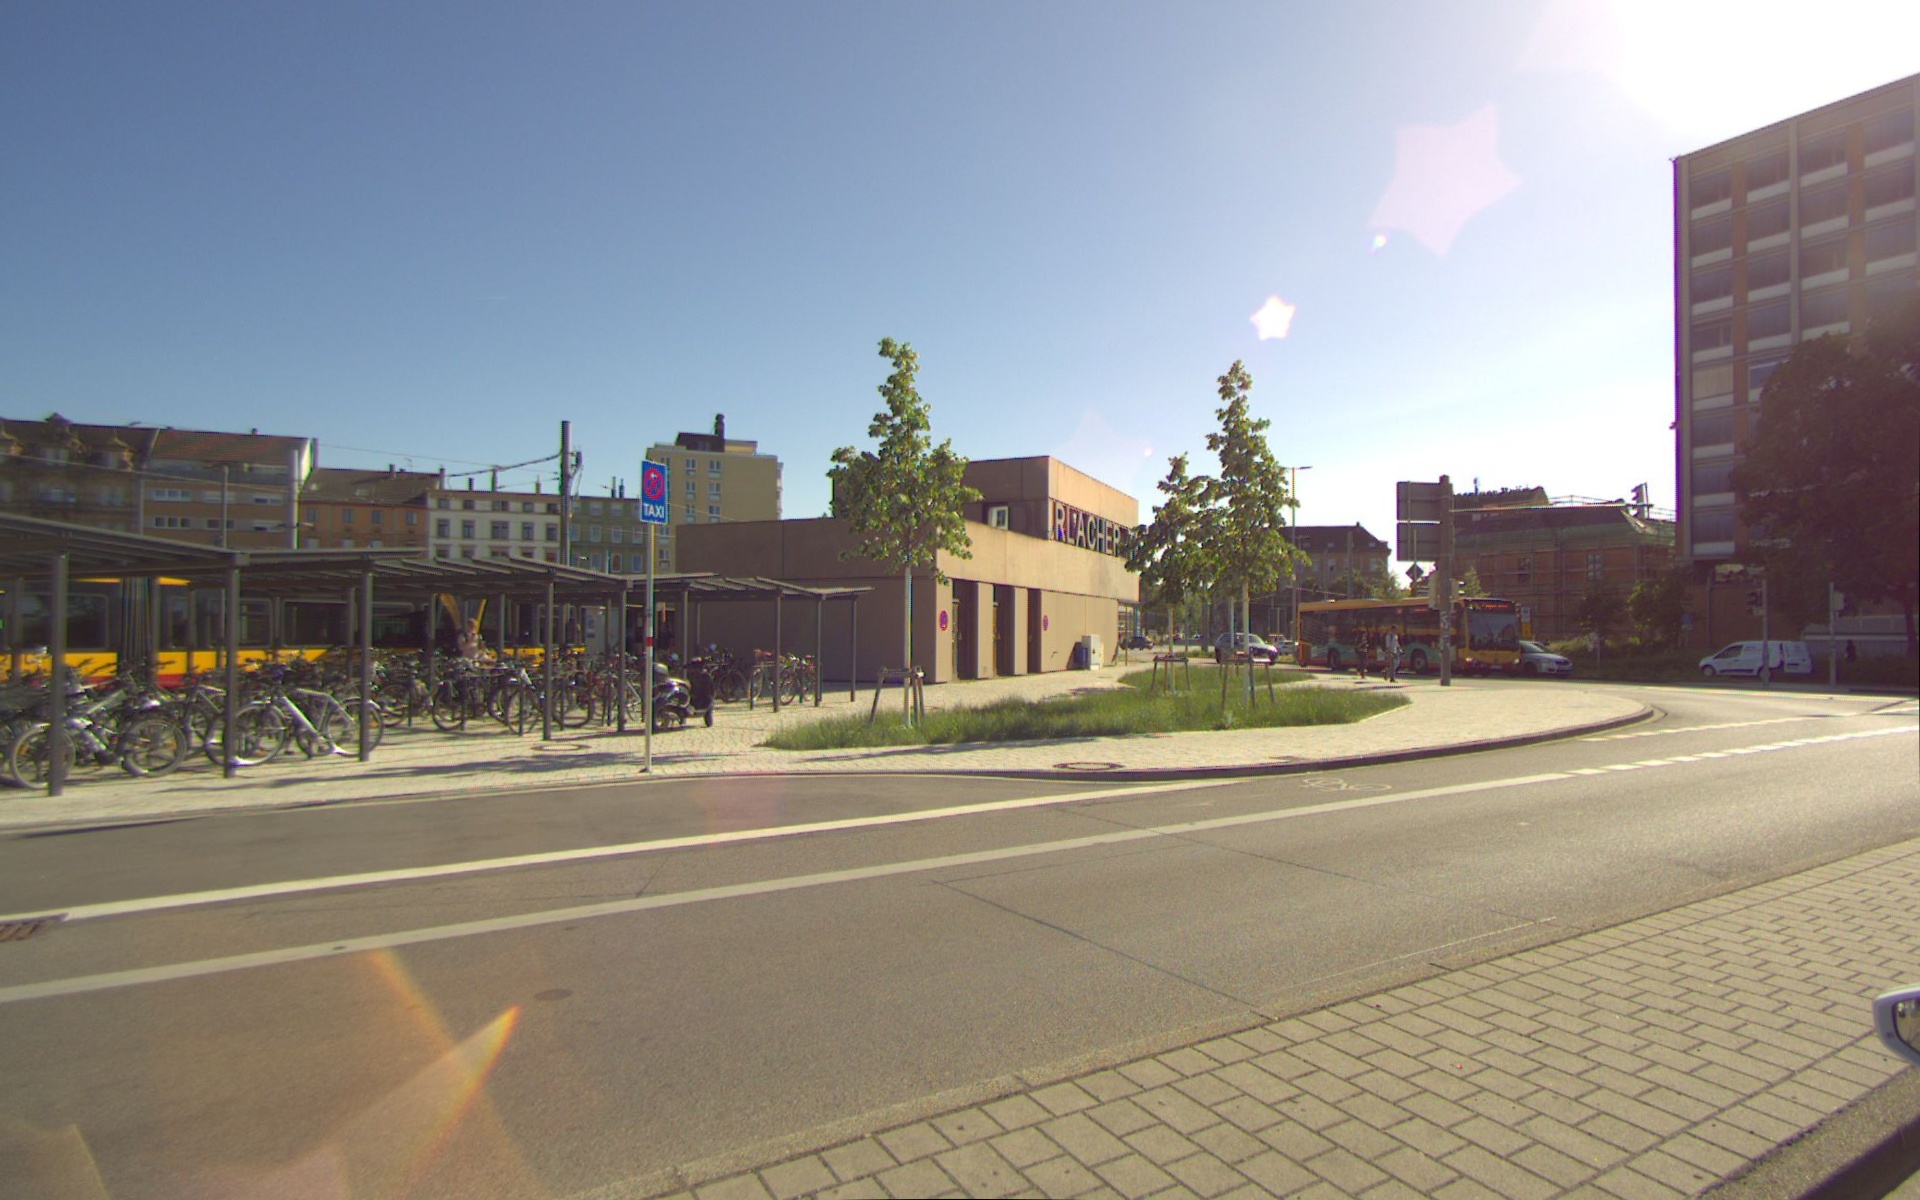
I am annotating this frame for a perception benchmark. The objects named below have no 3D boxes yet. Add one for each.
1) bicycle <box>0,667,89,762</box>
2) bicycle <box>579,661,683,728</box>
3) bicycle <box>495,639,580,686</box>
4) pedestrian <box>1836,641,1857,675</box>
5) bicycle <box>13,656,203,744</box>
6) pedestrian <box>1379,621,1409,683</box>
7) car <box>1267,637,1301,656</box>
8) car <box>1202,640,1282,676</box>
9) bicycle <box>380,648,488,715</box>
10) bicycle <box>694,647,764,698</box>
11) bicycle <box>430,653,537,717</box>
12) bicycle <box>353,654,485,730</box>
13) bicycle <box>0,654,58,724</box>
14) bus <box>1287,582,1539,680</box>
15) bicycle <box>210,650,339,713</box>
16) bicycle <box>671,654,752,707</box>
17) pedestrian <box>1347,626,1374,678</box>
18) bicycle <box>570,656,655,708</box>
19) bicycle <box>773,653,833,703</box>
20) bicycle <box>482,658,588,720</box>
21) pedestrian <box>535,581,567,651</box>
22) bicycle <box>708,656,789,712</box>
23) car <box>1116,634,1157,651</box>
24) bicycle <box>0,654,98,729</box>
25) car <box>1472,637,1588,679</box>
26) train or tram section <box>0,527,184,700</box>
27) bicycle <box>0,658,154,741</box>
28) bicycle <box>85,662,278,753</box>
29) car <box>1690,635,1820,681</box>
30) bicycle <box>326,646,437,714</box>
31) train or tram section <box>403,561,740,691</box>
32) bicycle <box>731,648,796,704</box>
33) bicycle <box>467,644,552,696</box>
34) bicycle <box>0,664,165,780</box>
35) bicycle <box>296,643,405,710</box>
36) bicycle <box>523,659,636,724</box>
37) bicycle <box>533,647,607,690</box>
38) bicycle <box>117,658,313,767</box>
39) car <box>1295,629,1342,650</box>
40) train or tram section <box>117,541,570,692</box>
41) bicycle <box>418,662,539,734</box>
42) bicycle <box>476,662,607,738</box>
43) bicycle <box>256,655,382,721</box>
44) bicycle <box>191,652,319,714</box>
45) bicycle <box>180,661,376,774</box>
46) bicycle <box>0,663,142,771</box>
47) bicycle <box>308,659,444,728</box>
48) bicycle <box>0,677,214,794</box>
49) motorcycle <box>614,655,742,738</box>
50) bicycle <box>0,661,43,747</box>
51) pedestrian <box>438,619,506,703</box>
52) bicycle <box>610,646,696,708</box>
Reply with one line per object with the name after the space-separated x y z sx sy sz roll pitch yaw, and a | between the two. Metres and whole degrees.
-11.046 1.301 11.263 0.617 1.021 1.828 0 -2 27 | bicycle
-5.633 1.596 17.322 0.617 1.021 1.829 0 -2 25 | bicycle
-9.625 1.401 22.939 0.617 1.021 1.828 0 -2 27 | bicycle
42.461 2.775 48.103 0.545 1.592 0.534 0 -1 -5 | pedestrian
-11.256 1.289 13.345 0.617 1.021 1.829 0 -2 25 | bicycle
13.533 1.614 31.341 0.594 1.880 0.680 0 -1 -7 | pedestrian
31.224 4.471 96.888 1.960 1.603 4.001 2 0 1 | car
15.999 3.262 57.195 1.975 1.885 4.719 1 -2 -21 | car
-10.036 1.522 19.237 0.617 1.176 1.829 0 -2 25 | bicycle
-5.381 1.677 23.492 0.617 1.107 1.829 0 -2 25 | bicycle
-8.877 1.554 18.791 0.617 1.094 1.829 0 -2 25 | bicycle
-8.780 1.468 16.395 0.616 1.107 1.879 0 -2 26 | bicycle
-14.795 1.347 15.021 0.617 1.021 1.829 0 -2 25 | bicycle
18.832 1.308 43.392 3.193 3.617 12.436 1 -2 -12 | bus
-12.125 1.419 17.833 0.617 1.021 1.830 0 -2 23 | bicycle
-5.236 1.686 21.304 0.492 1.010 1.888 0 -2 30 | bicycle
13.515 1.754 33.894 0.594 1.720 0.634 0 -1 -7 | pedestrian
-7.488 1.753 21.727 0.617 1.021 1.828 0 -2 27 | bicycle
-3.449 1.702 22.200 0.616 1.021 1.831 0 -1 16 | bicycle
-7.706 1.587 18.300 0.617 1.021 1.829 0 -2 25 | bicycle
-11.143 0.442 27.379 0.738 1.880 0.709 1 -1 -20 | pedestrian
-4.287 1.687 20.494 0.617 1.021 1.828 0 -2 27 | bicycle
19.341 4.631 110.255 3.928 1.603 1.996 2 0 30 | car
-13.723 1.319 14.513 0.617 1.021 1.829 0 -2 25 | bicycle
22.602 2.278 39.976 1.860 1.421 3.847 4 -1 -14 | car
-22.590 0.230 19.296 2.748 3.648 12.321 0 -2 24 | train or tram section
-12.390 1.338 13.902 0.617 1.021 1.829 0 -2 25 | bicycle
-10.018 1.349 13.009 0.732 1.021 1.829 0 -2 25 | bicycle
35.687 2.561 45.222 2.176 1.905 4.176 1 -1 -12 | car
-11.158 1.511 19.435 0.636 1.204 1.829 0 -2 25 | bicycle
-12.459 0.913 34.388 2.702 3.648 12.318 0 -2 25 | train or tram section
-4.371 1.670 22.493 0.616 1.161 1.831 0 -1 18 | bicycle
-10.547 1.618 23.597 0.617 1.146 1.828 0 -2 27 | bicycle
-9.504 1.242 10.459 0.617 1.080 1.828 0 -2 27 | bicycle
-12.169 1.504 20.121 0.617 1.249 1.829 0 -2 25 | bicycle
-6.720 1.595 17.866 0.617 1.021 2.026 0 -2 25 | bicycle
-9.906 1.724 25.577 0.617 1.021 1.829 0 -2 25 | bicycle
-8.977 1.316 12.201 0.617 1.163 1.829 0 -2 25 | bicycle
27.122 3.001 76.088 1.962 1.538 3.817 0 -1 -4 | car
-17.608 0.571 30.555 2.779 3.648 12.321 0 -2 24 | train or tram section
-7.605 1.526 15.956 0.539 1.021 1.749 0 -2 28 | bicycle
-6.499 1.526 15.702 0.677 1.055 1.891 0 -2 27 | bicycle
-10.968 1.485 17.263 0.616 1.021 1.831 0 -1 18 | bicycle
-12.722 1.469 18.182 0.617 1.021 1.829 0 -2 24 | bicycle
-7.934 1.322 11.787 0.617 1.173 1.829 0 -2 25 | bicycle
-9.962 1.237 10.724 0.562 1.065 1.828 0 -2 27 | bicycle
-9.703 1.523 16.796 0.616 1.021 2.004 0 -2 22 | bicycle
-8.729 1.307 10.066 0.688 1.020 1.866 0 -3 27 | bicycle
-4.509 1.519 16.284 0.599 1.173 2.360 0 -1 25 | motorcycle
-12.065 1.255 11.785 0.617 1.021 1.828 0 -2 27 | bicycle
-10.316 1.268 21.253 1.005 1.727 0.838 0 -1 26 | pedestrian
-6.510 1.609 21.424 0.496 1.225 2.051 0 -1 26 | bicycle
